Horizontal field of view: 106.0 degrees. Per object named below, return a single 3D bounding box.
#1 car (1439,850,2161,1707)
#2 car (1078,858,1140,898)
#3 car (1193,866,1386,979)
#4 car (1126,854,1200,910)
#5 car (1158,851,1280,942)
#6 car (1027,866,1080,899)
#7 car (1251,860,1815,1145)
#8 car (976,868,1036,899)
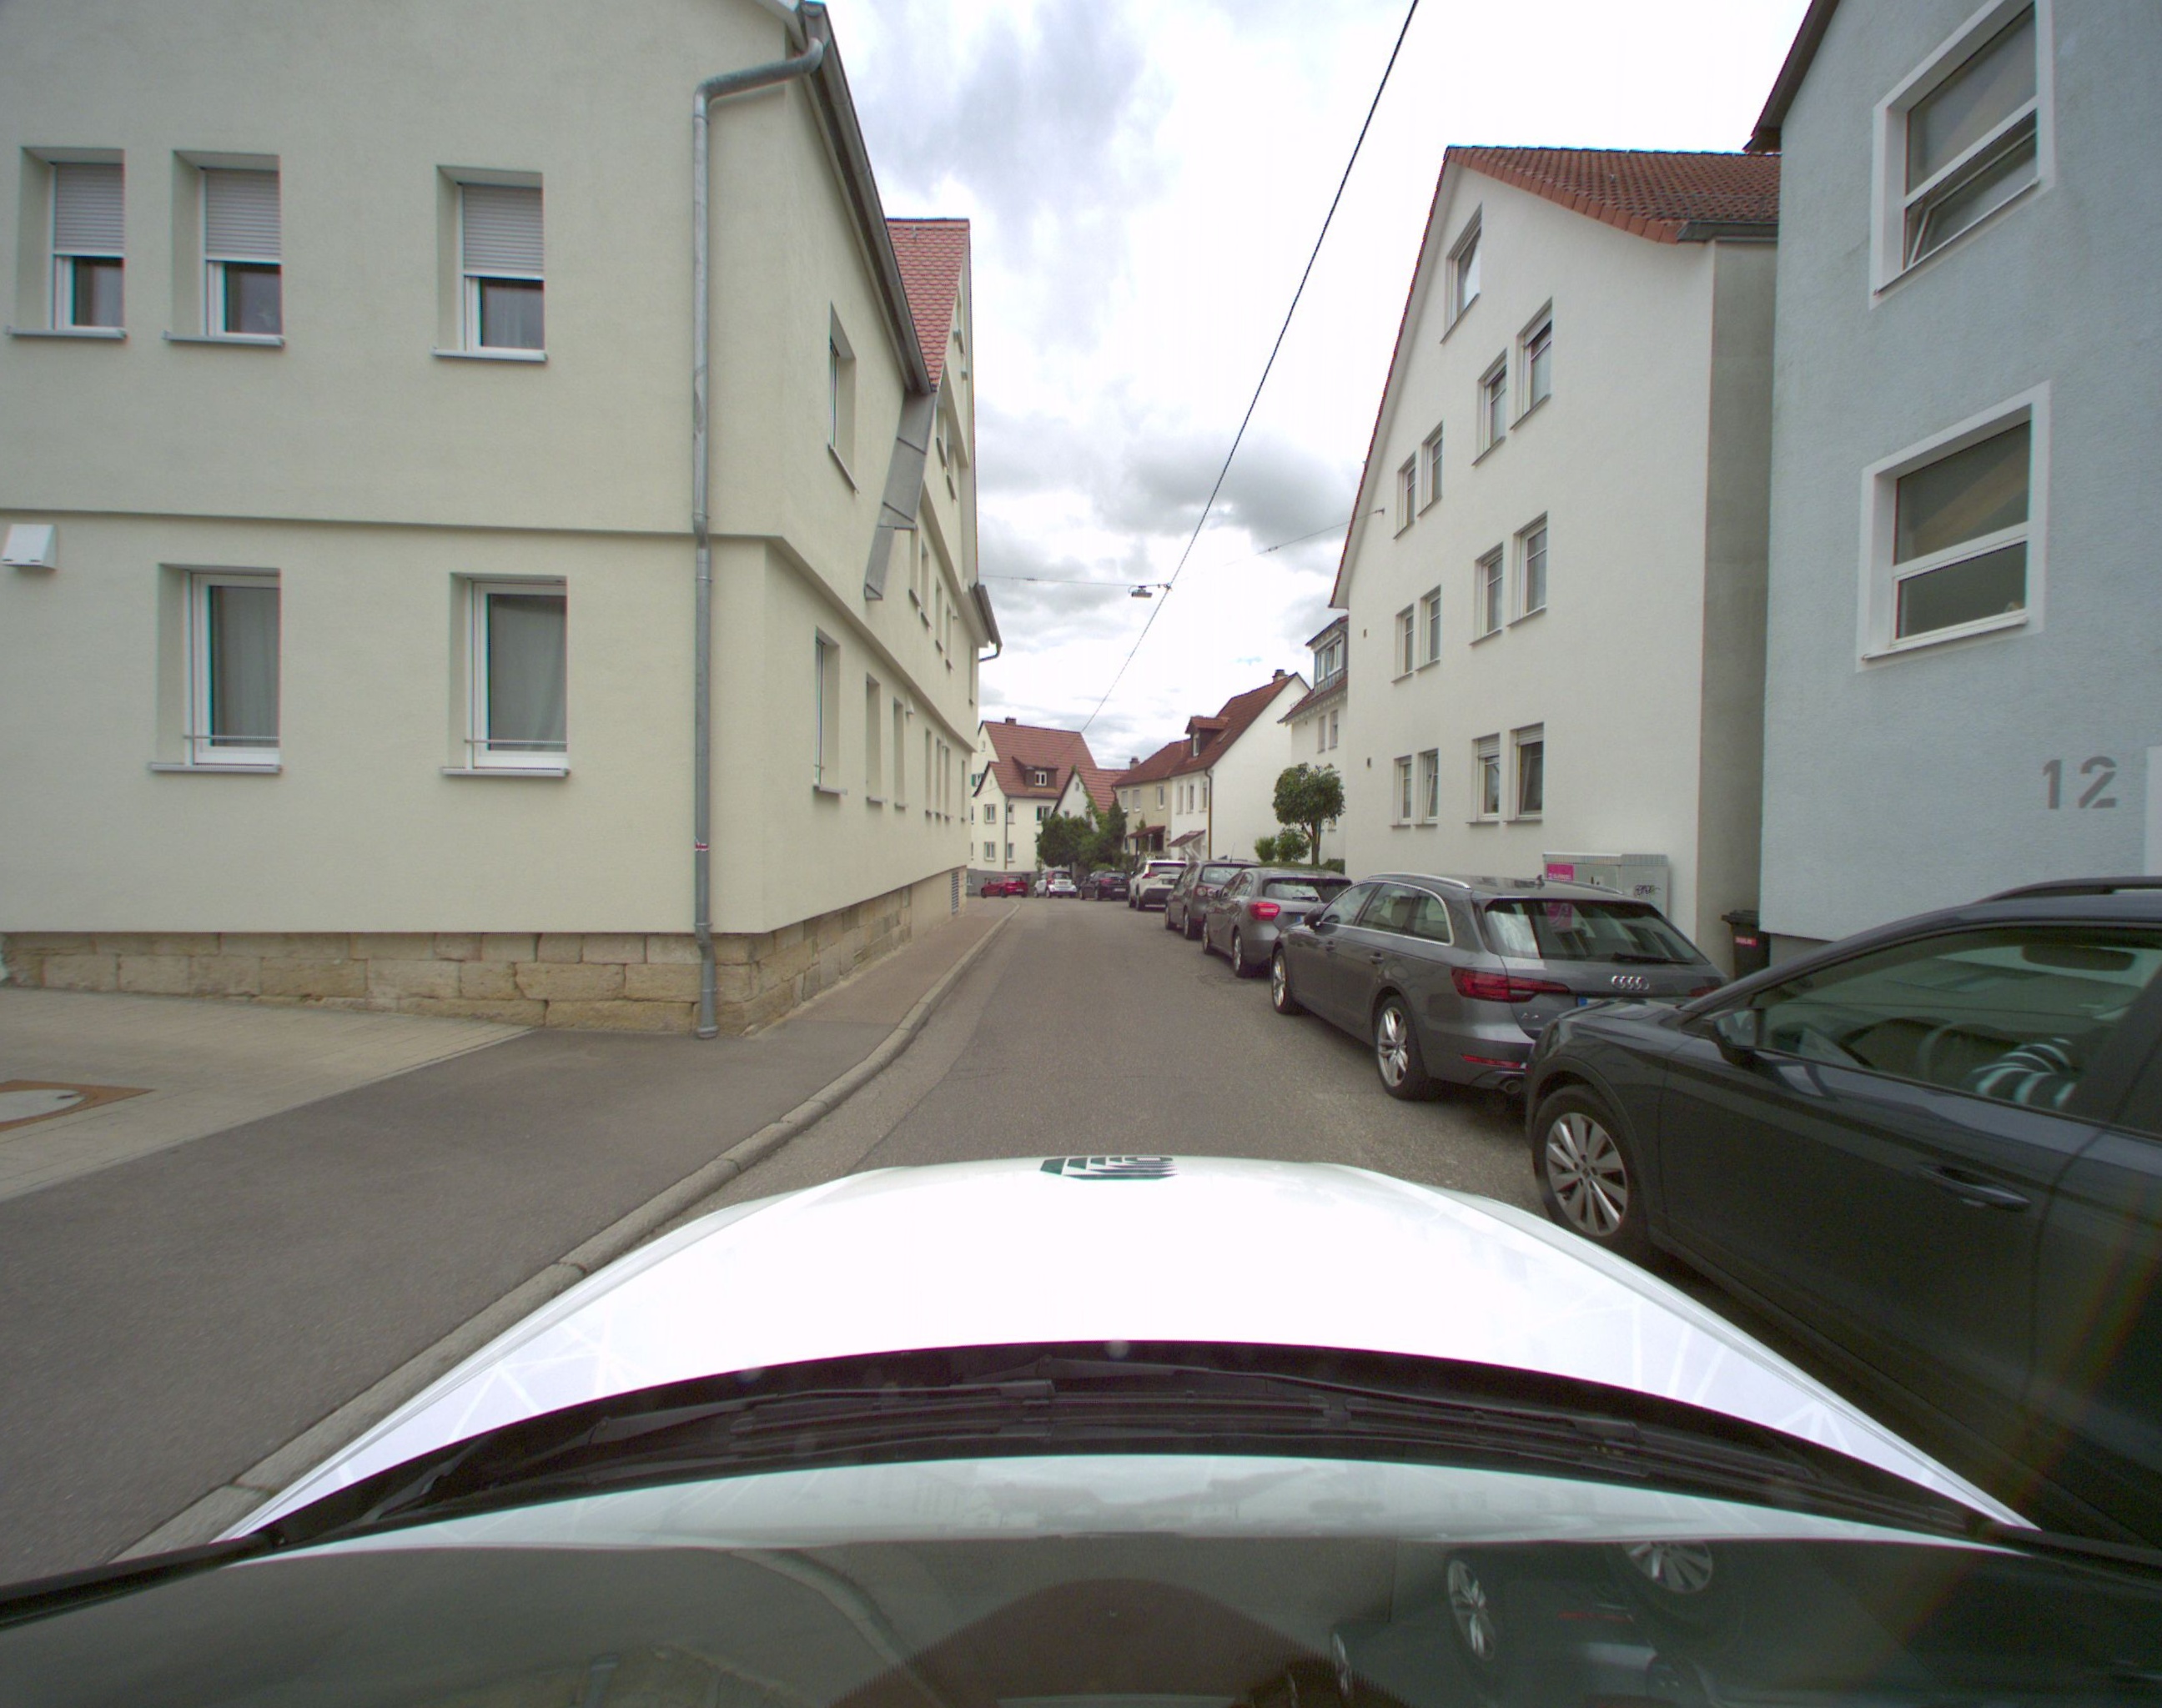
[{"bbox_3d":[2.664,0.833,1.912,1.747,1.628,4.537,2,0,2],"label":"car"},{"bbox_3d":[1.257,1.131,37.868,1.995,1.713,3.983,0,-2,-12],"label":"car"},{"bbox_3d":[2.803,0.866,11.877,1.791,1.352,4.074,0,-1,0],"label":"car"},{"bbox_3d":[2.636,0.890,27.148,1.868,1.713,4.143,0,-1,-3],"label":"car"},{"bbox_3d":[2.754,0.817,17.096,1.731,1.610,3.997,3,-1,-1],"label":"car"},{"bbox_3d":[-1.625,1.623,46.941,1.969,1.713,3.974,1,1,-20],"label":"car"},{"bbox_3d":[2.826,0.777,6.536,1.912,1.410,4.654,-1,0,0],"label":"car"},{"bbox_3d":[-4.838,1.889,52.185,2.009,1.683,3.957,-6,0,-34],"label":"car"}]
